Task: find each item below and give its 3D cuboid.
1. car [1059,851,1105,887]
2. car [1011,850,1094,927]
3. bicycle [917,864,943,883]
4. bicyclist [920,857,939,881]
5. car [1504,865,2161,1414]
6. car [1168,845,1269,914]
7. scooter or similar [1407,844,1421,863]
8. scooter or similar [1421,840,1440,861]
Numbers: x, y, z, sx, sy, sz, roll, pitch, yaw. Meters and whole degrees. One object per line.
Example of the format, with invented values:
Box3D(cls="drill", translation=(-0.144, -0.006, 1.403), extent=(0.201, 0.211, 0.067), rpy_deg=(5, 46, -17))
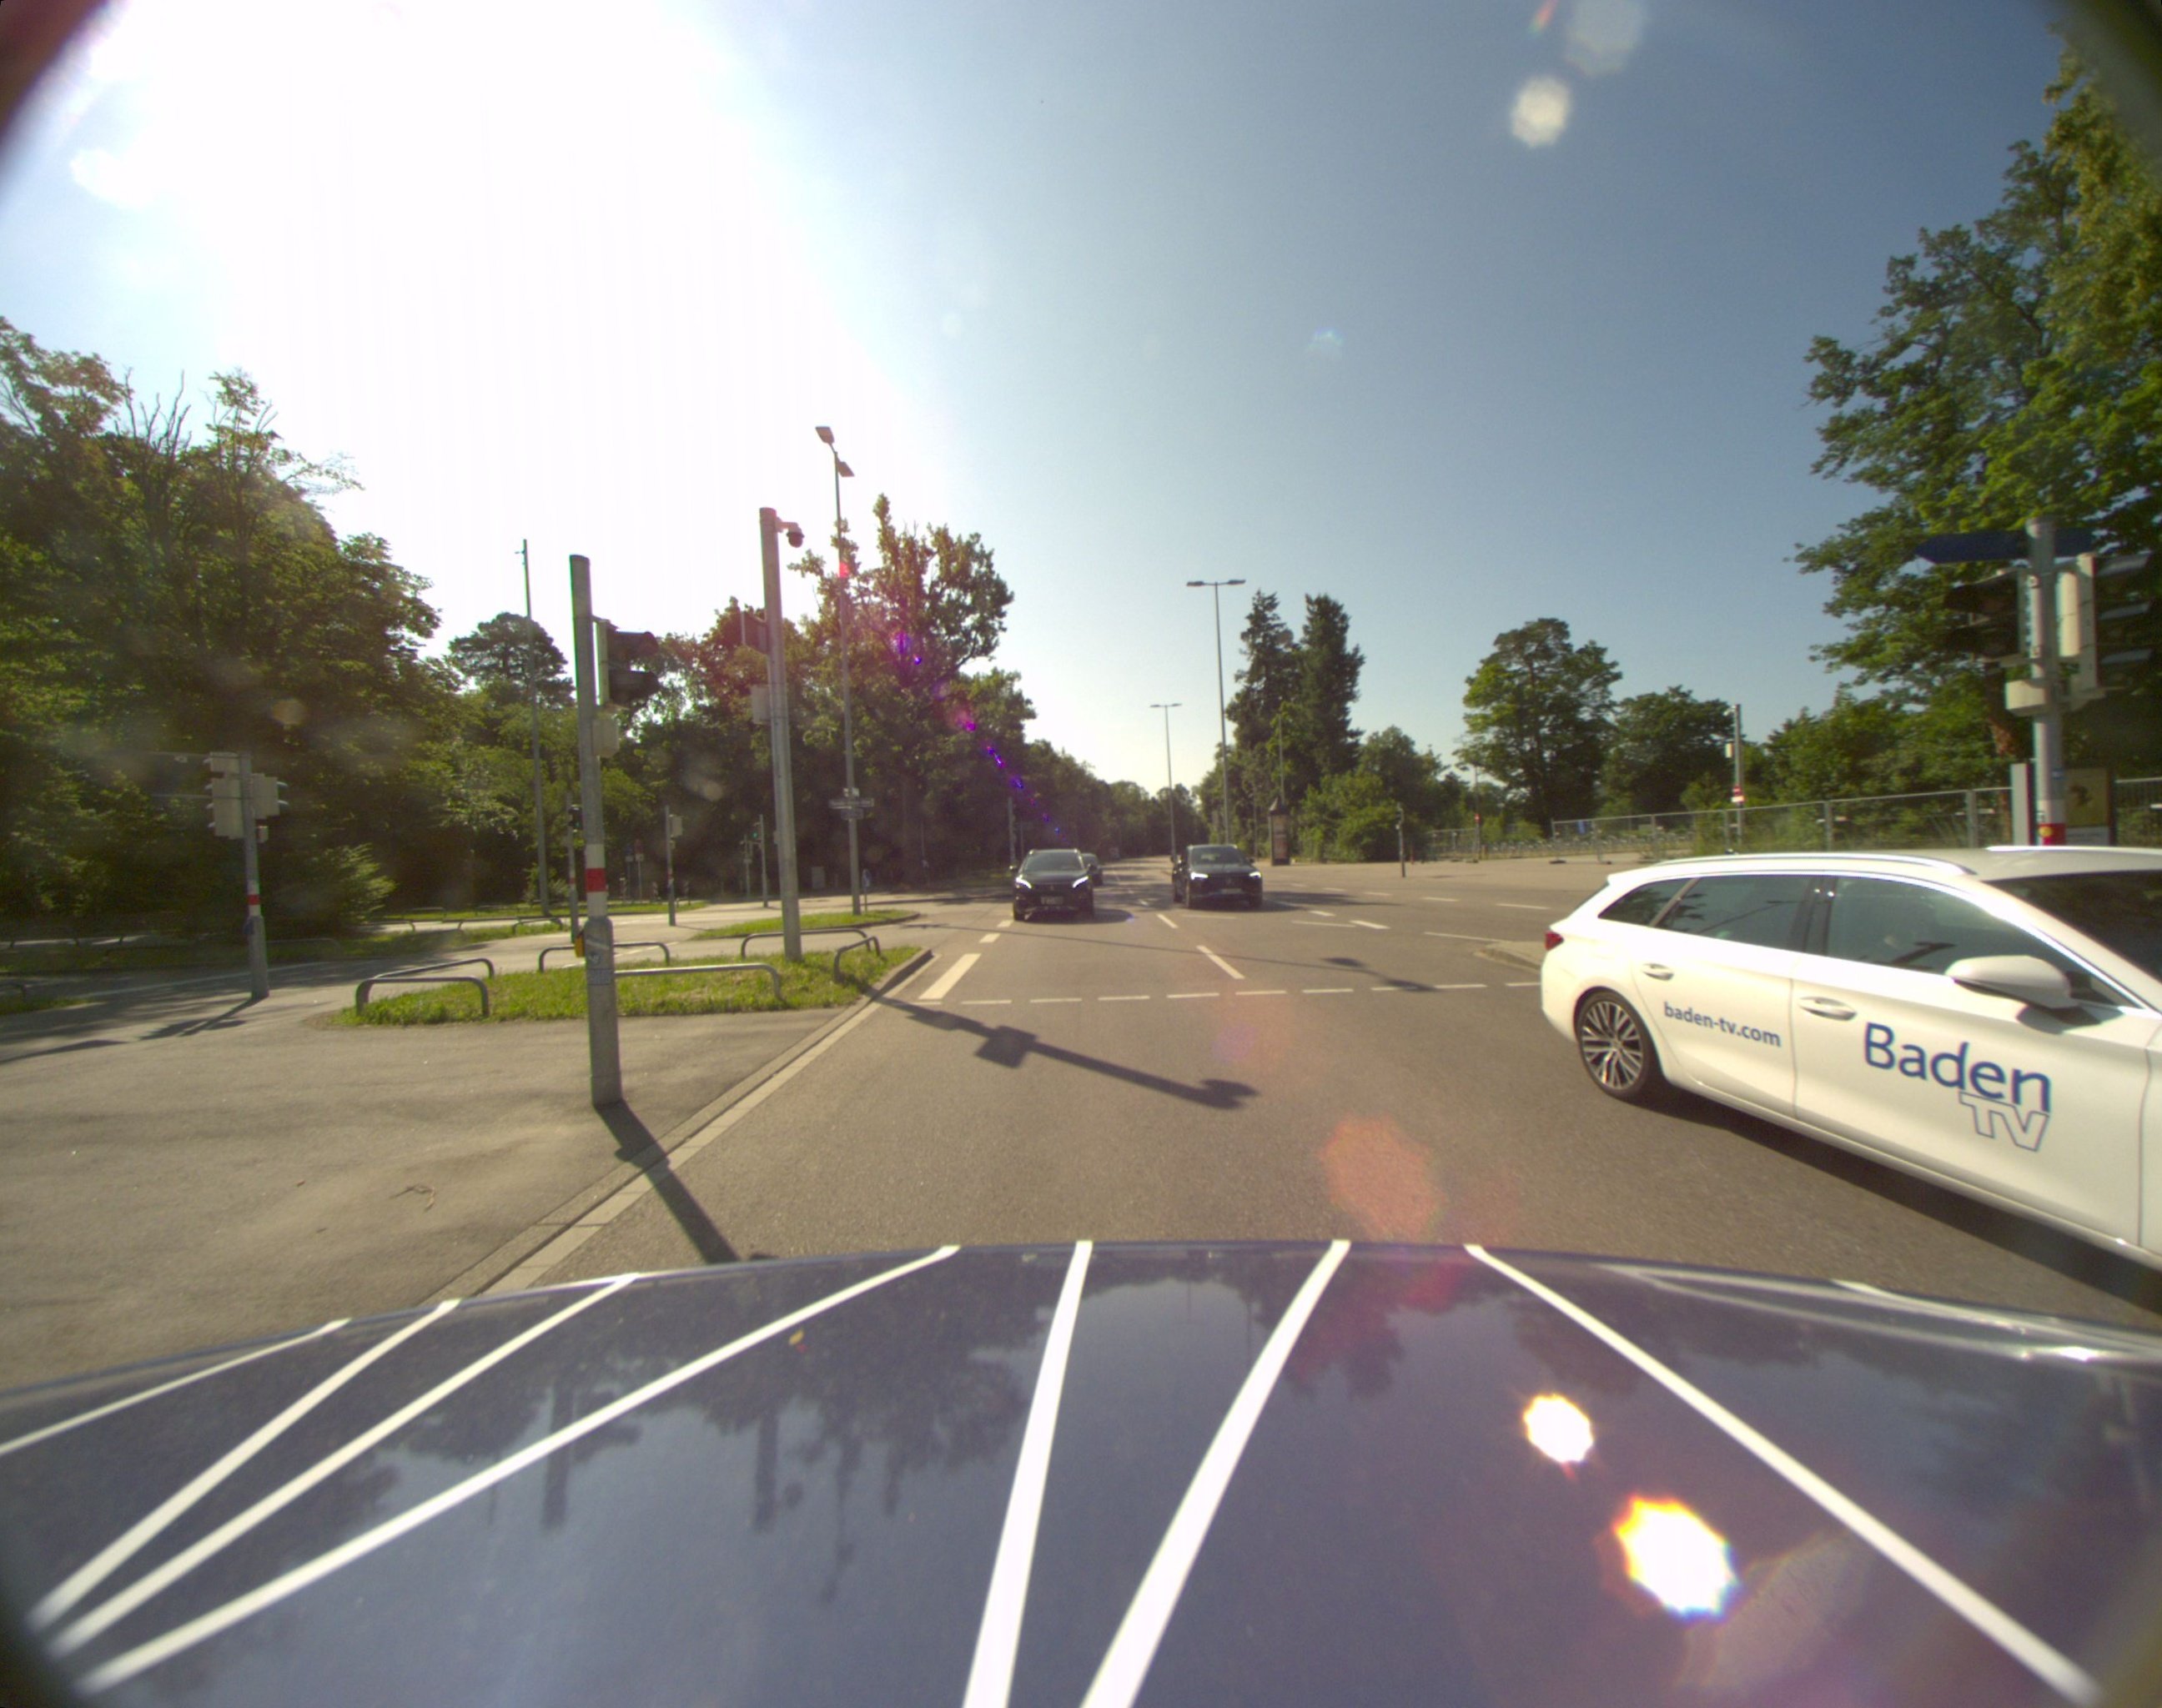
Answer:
Box3D(cls="car", translation=(0.039, 0.644, 34.905), extent=(1.933, 1.499, 3.999), rpy_deg=(-3, 0, 0))
Box3D(cls="car", translation=(-0.571, 0.731, 18.559), extent=(1.702, 1.581, 4.319), rpy_deg=(-3, 0, 1))
Box3D(cls="bicycle", translation=(-10.375, 1.356, 52.150), extent=(0.725, 1.192, 2.103), rpy_deg=(-2, 0, 20))
Box3D(cls="bicyclist", translation=(-10.383, 1.013, 52.152), extent=(0.725, 1.629, 1.059), rpy_deg=(-2, 1, 20))
Box3D(cls="car", translation=(3.840, 0.817, 2.969), extent=(1.729, 1.418, 4.719), rpy_deg=(-2, 0, 0))
Box3D(cls="car", translation=(3.494, 0.573, 20.025), extent=(1.809, 1.587, 4.272), rpy_deg=(-1, 1, -1))
Box3D(cls="scooter or similar", translation=(20.666, -0.055, 47.160), extent=(0.395, 1.139, 1.197), rpy_deg=(-3, 0, 6))
Box3D(cls="scooter or similar", translation=(21.658, -0.220, 47.129), extent=(1.082, 1.215, 0.395), rpy_deg=(-3, 1, -23))
